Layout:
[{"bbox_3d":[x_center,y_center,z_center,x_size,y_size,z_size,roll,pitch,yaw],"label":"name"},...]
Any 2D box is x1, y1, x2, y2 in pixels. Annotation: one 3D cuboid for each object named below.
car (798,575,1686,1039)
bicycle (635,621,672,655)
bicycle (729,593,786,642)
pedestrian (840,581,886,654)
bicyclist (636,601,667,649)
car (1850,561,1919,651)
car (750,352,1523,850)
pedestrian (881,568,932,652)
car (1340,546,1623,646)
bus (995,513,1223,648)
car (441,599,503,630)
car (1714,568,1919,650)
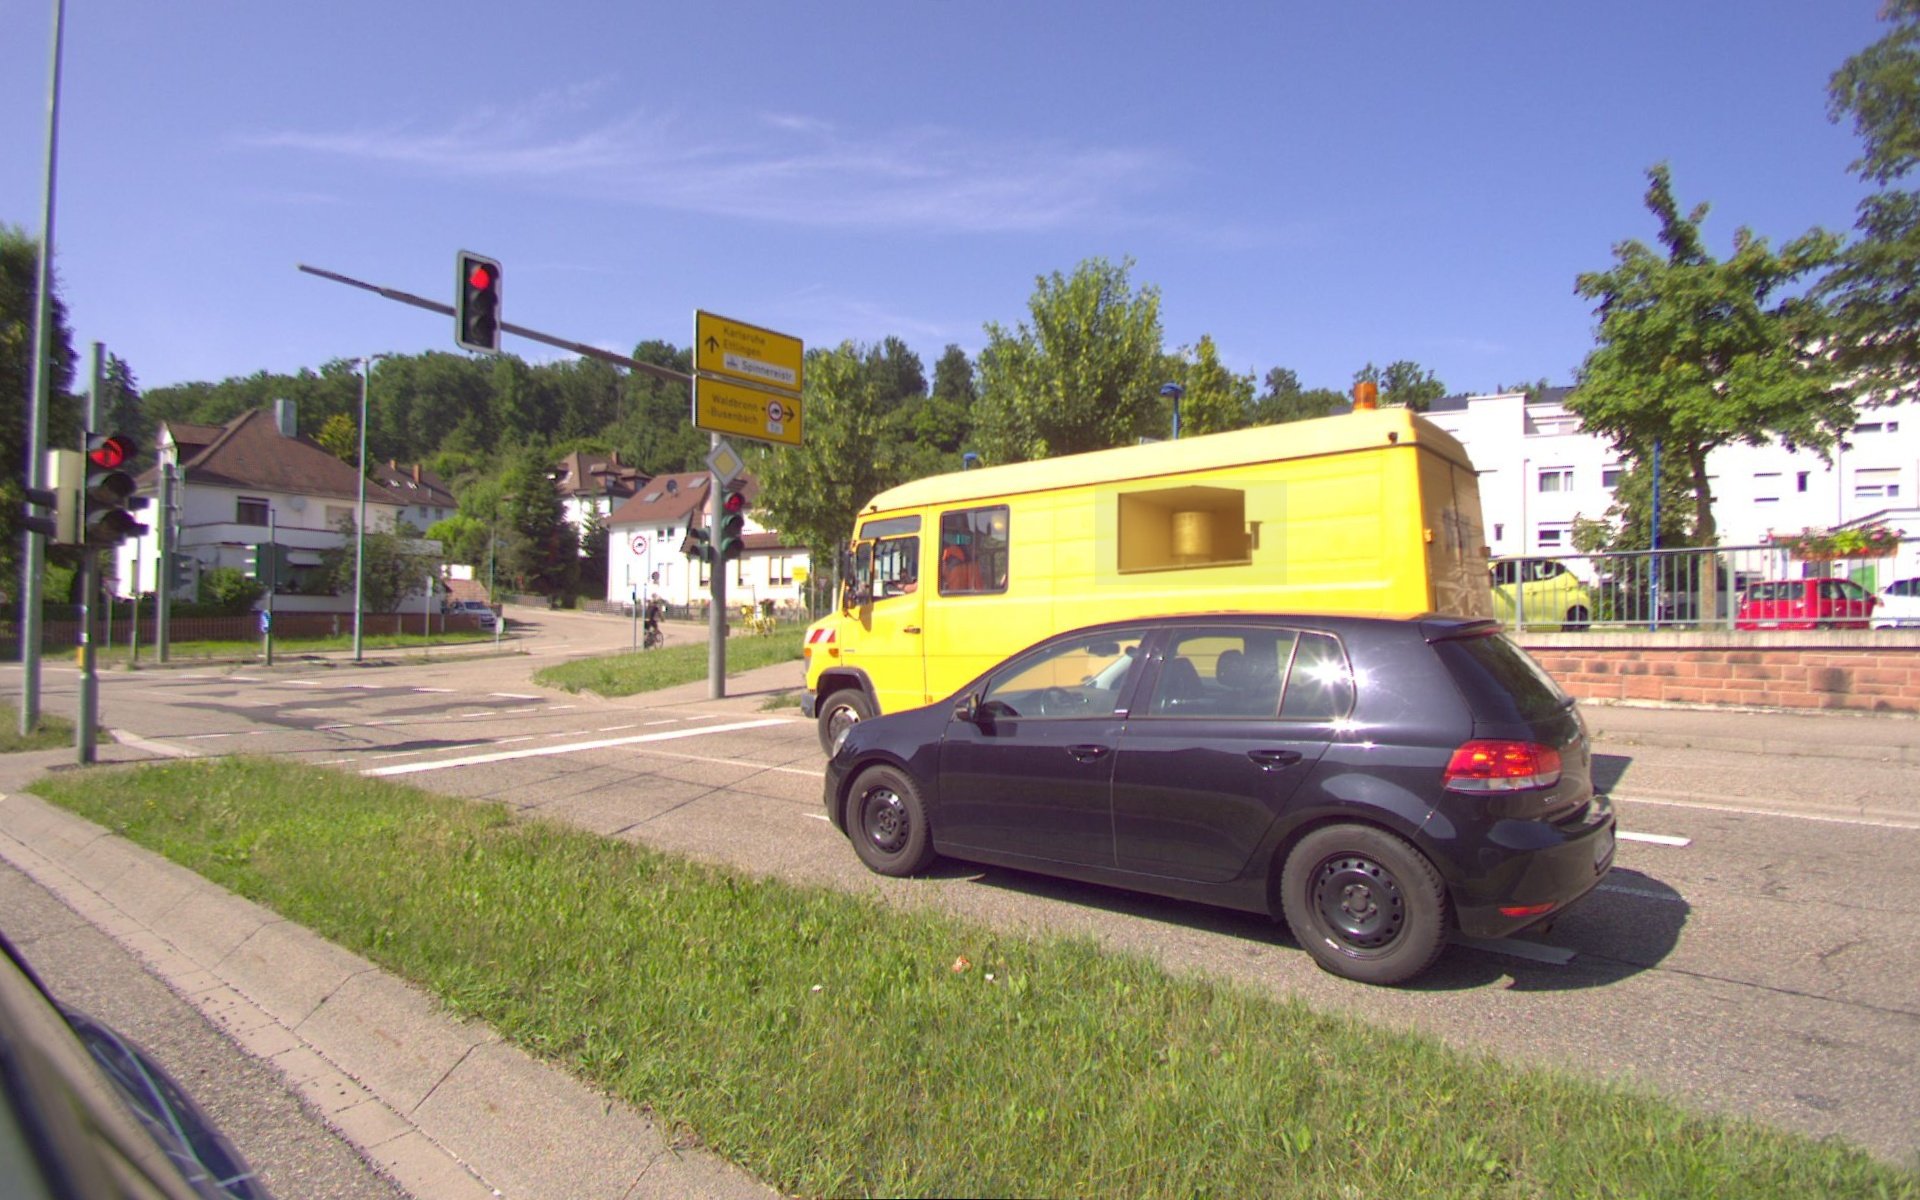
[{"bbox_3d":[1.173,0.699,5.188,4.039,1.473,1.728,-1,-1,39],"label":"car"},{"bbox_3d":[-11.348,1.387,37.577,0.725,1.171,1.999,-3,0,0],"label":"bicycle"},{"bbox_3d":[-5.786,0.517,28.846,1.757,1.264,0.612,-5,1,44],"label":"bicycle"},{"bbox_3d":[-2.294,0.414,23.996,0.740,1.690,0.704,-3,0,38],"label":"pedestrian"},{"bbox_3d":[-11.379,0.917,37.374,0.796,1.703,0.993,-2,0,0],"label":"bicyclist"},{"bbox_3d":[20.091,0.035,20.191,3.931,1.713,1.920,-3,-1,-23],"label":"car"},{"bbox_3d":[1.207,0.028,9.135,6.457,3.033,2.444,-1,0,38],"label":"car"},{"bbox_3d":[-1.257,0.226,23.976,0.856,1.922,0.732,-1,2,37],"label":"pedestrian"},{"bbox_3d":[8.529,-0.079,16.620,3.931,1.392,1.920,-3,0,-20],"label":"car"},{"bbox_3d":[4.503,-0.502,34.852,2.821,3.742,12.253,-2,0,-16],"label":"bus"},{"bbox_3d":[-28.791,0.877,59.662,4.000,1.649,1.913,-3,0,44],"label":"car"},{"bbox_3d":[19.116,0.177,22.450,3.931,1.571,1.920,-3,0,-20],"label":"car"}]
